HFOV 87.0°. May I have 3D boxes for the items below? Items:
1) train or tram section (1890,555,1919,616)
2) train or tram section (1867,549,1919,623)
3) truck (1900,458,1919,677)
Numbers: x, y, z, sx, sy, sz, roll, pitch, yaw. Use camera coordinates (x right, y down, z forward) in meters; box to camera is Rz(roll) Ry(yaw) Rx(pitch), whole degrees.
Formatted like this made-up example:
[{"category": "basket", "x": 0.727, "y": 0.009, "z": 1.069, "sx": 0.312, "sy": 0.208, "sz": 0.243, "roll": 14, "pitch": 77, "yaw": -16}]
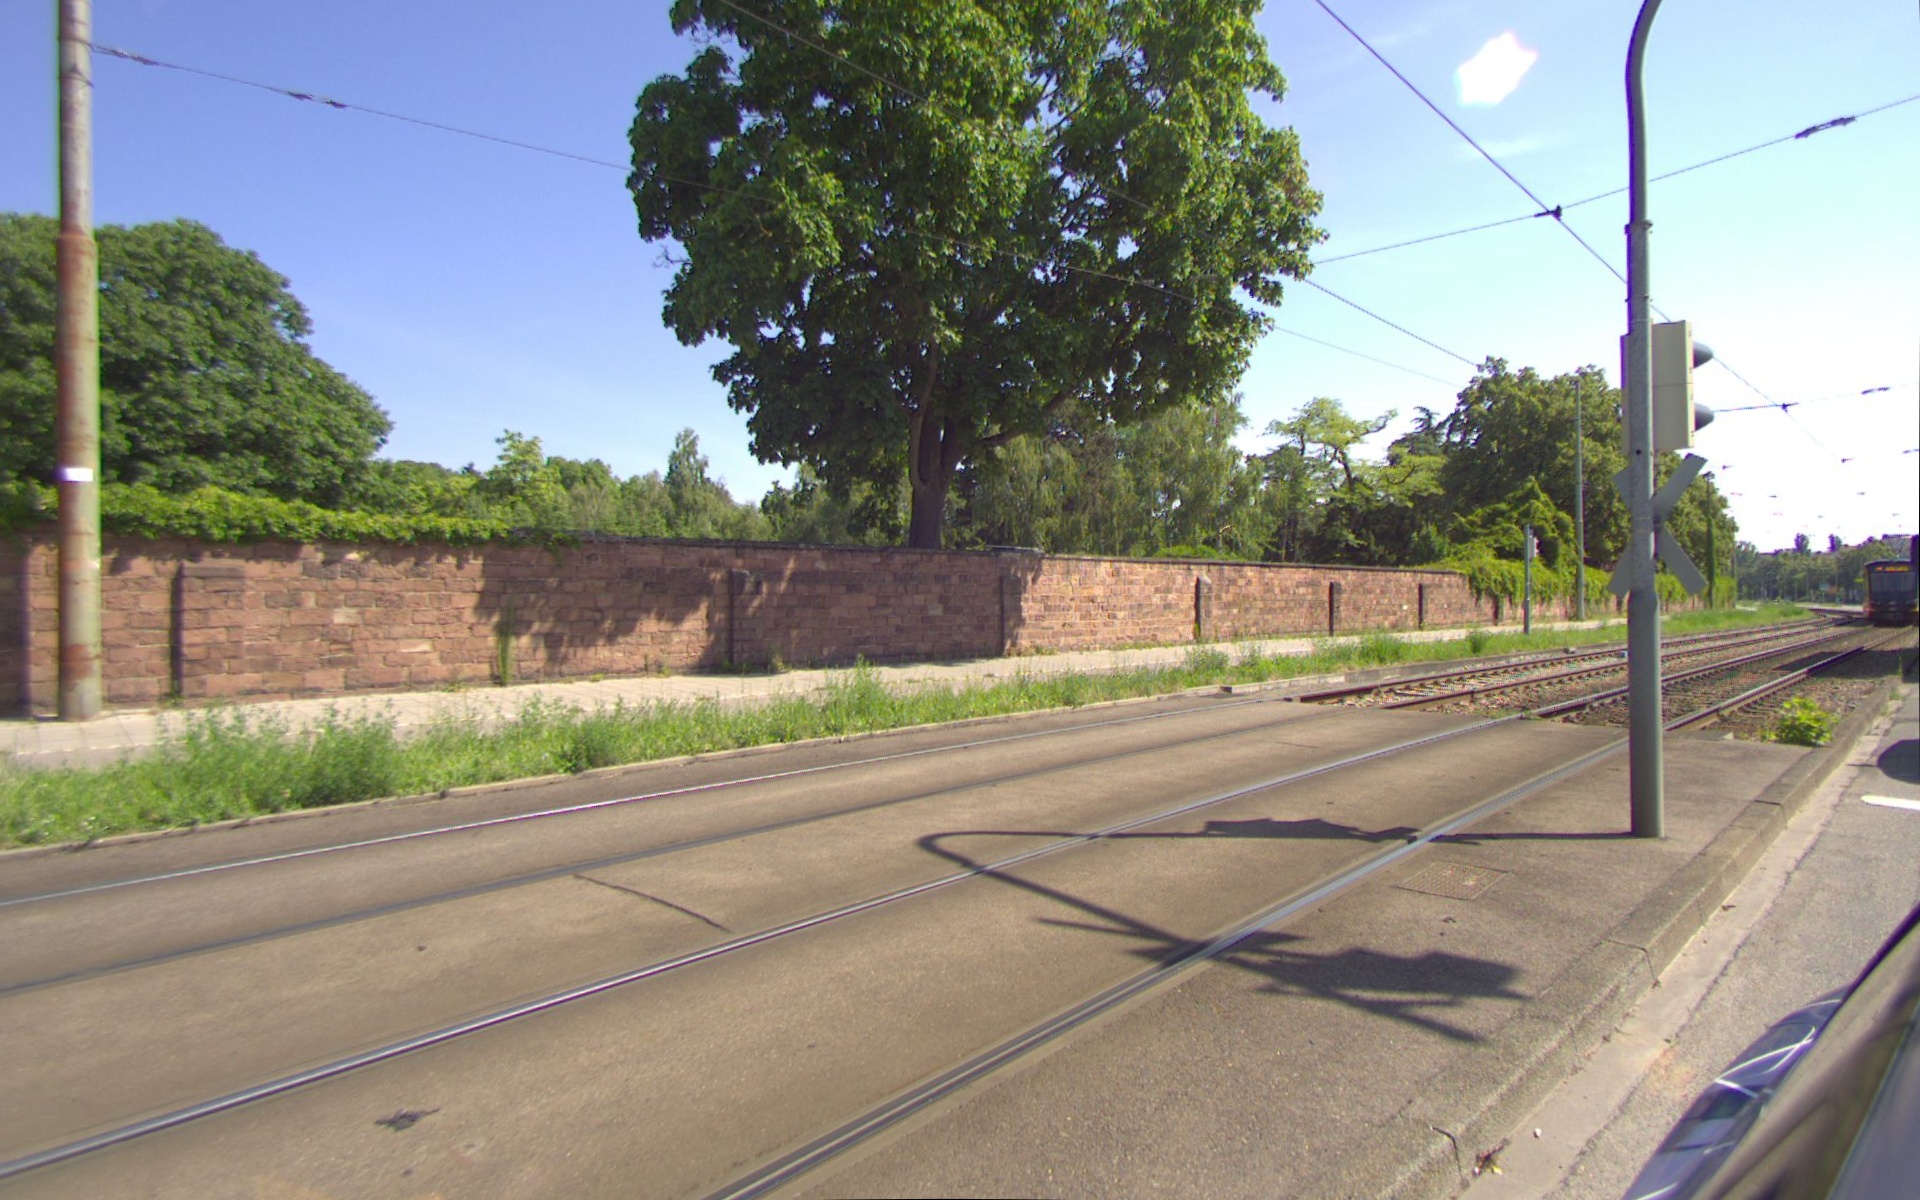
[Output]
[{"category": "train or tram section", "x": 65.004, "y": -1.004, "z": 68.037, "sx": 18.649, "sy": 3.699, "sz": 2.674, "roll": -1, "pitch": -1, "yaw": -45}, {"category": "train or tram section", "x": 52.976, "y": -0.789, "z": 56.252, "sx": 15.054, "sy": 3.699, "sz": 2.671, "roll": -1, "pitch": -1, "yaw": -44}, {"category": "truck", "x": 24.094, "y": -0.732, "z": 22.881, "sx": 14.052, "sy": 4.121, "sz": 3.384, "roll": -1, "pitch": -1, "yaw": -44}]
